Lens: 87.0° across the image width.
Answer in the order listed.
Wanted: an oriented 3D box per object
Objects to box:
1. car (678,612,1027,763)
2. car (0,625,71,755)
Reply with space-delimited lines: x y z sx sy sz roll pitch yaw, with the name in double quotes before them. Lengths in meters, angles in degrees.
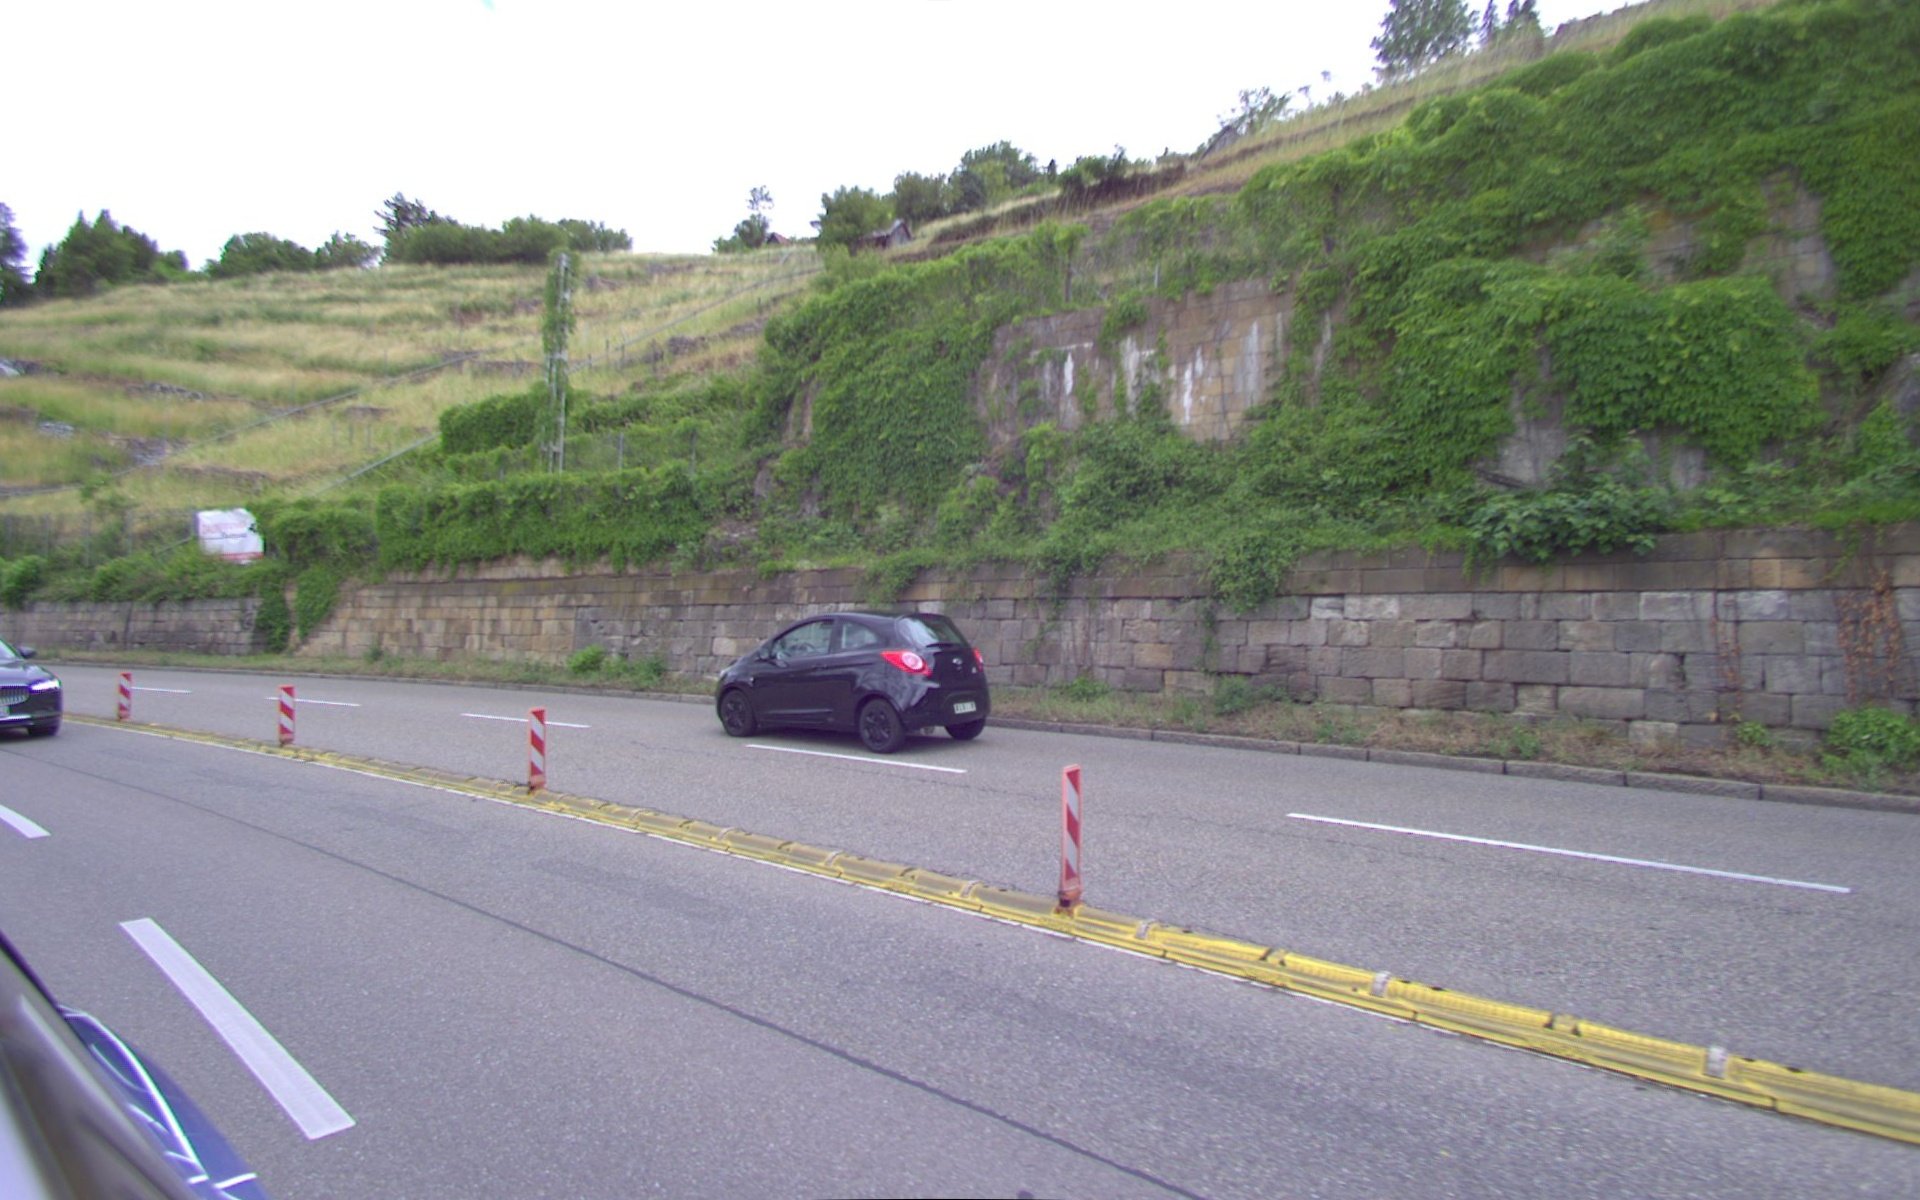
"car" -1.347 0.893 11.721 3.995 1.453 1.690 -2 -1 39
"car" -13.105 1.089 12.768 4.131 1.505 1.880 -1 0 34
